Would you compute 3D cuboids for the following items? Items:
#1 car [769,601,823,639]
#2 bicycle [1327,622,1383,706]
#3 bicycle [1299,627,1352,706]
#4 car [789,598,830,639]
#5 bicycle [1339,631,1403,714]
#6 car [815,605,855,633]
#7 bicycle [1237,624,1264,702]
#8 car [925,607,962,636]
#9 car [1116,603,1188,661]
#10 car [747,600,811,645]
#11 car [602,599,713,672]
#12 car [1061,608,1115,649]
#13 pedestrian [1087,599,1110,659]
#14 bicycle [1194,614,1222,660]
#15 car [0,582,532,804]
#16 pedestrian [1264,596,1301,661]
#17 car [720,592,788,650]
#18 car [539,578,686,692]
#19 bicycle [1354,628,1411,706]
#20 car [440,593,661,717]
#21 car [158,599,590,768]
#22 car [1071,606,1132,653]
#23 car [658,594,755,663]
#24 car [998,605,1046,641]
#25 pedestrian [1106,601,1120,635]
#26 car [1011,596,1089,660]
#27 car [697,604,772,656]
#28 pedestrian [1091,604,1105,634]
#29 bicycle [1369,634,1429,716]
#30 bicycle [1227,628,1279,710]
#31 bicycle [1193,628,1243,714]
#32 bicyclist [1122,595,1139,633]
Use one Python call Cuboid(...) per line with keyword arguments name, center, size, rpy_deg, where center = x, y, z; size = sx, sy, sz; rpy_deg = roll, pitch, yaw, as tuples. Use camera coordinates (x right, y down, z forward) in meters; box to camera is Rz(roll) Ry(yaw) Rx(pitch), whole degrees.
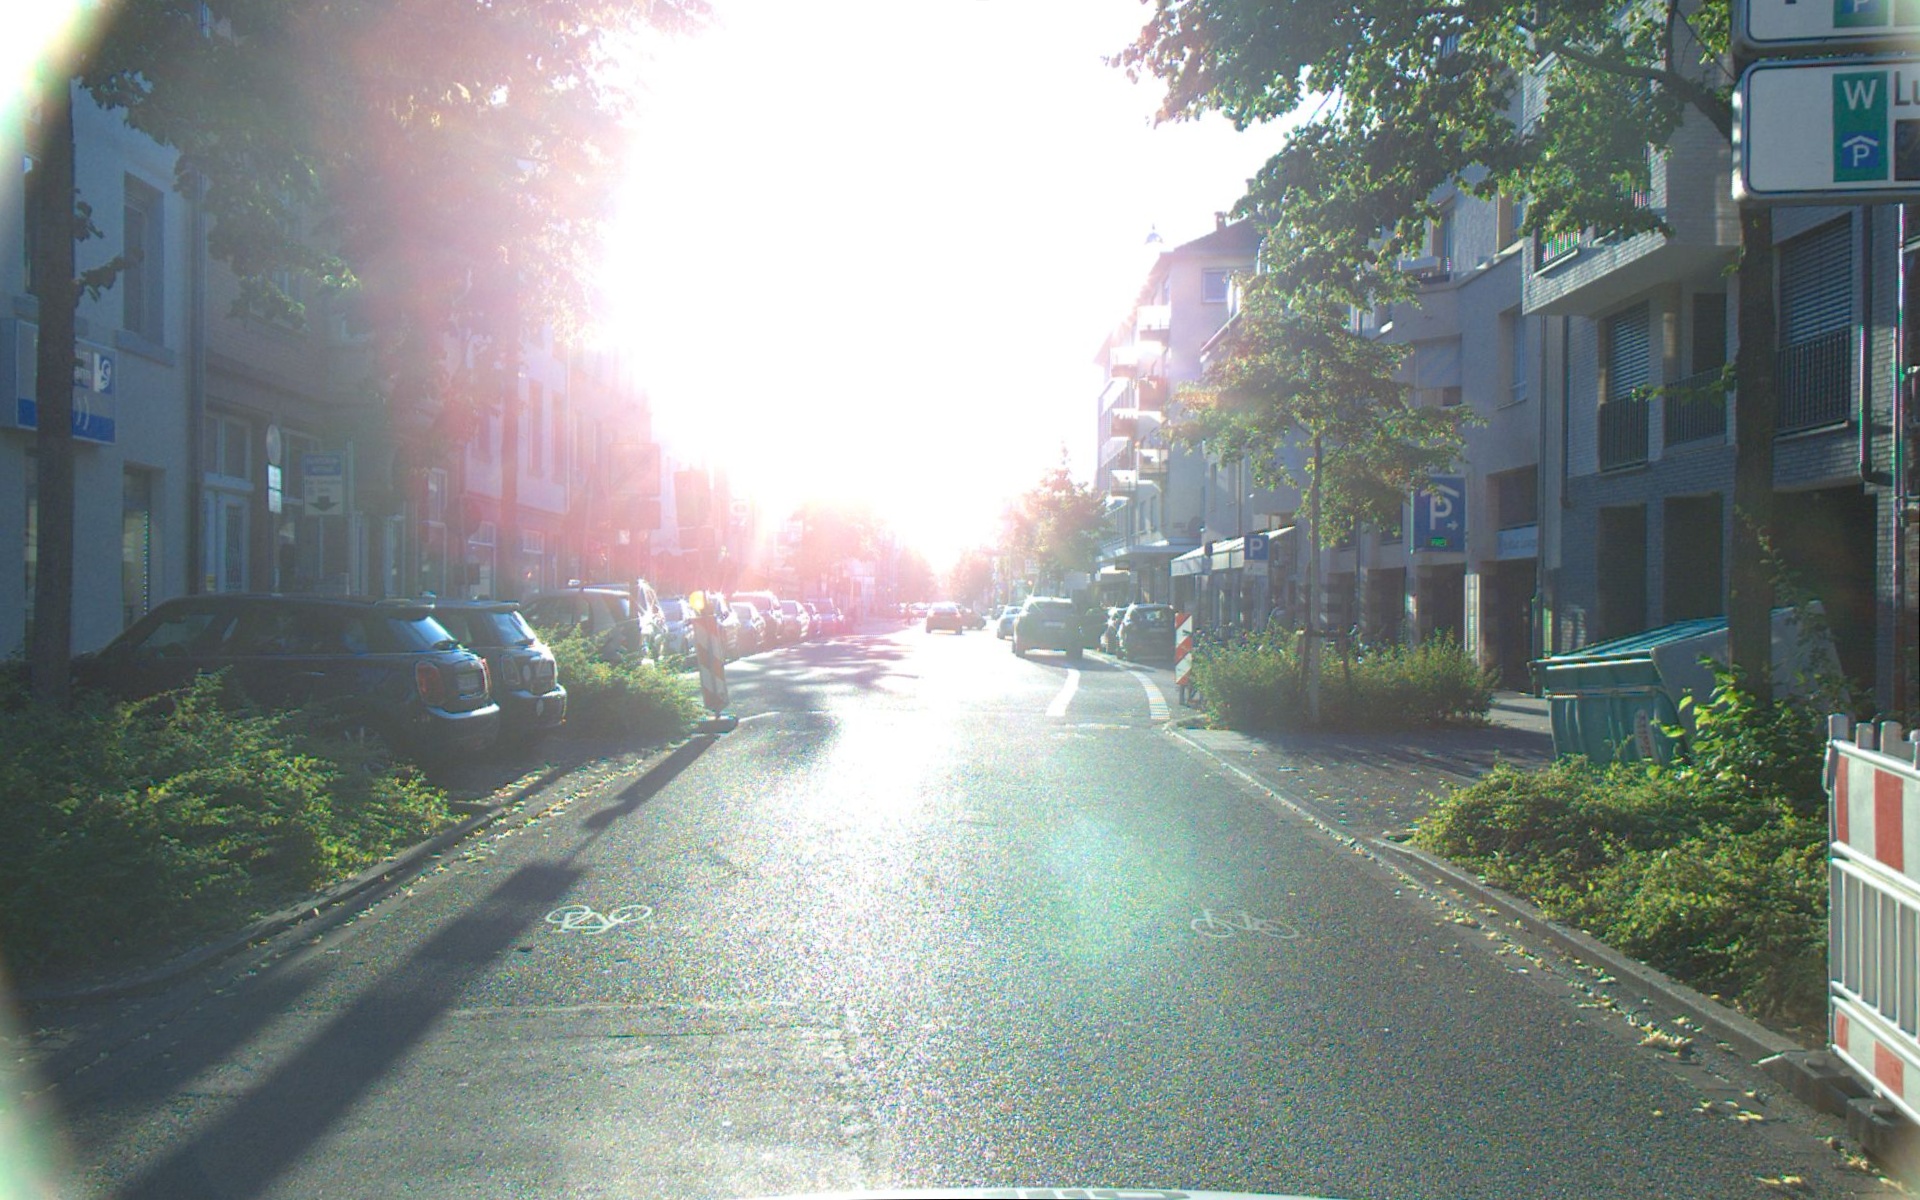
Cuboid(name="car", center=(-6.839, 0.830, 69.369), size=(1.790, 1.464, 4.553), rpy_deg=(-2, -1, 0))
Cuboid(name="bicycle", center=(5.923, 0.940, 24.851), size=(0.374, 1.210, 1.522), rpy_deg=(1, -1, -4))
Cuboid(name="bicycle", center=(5.471, 0.980, 24.806), size=(0.374, 1.119, 1.522), rpy_deg=(1, -1, -3))
Cuboid(name="car", center=(-7.096, 0.874, 78.450), size=(1.796, 1.887, 4.121), rpy_deg=(0, -1, -4))
Cuboid(name="bicycle", center=(5.804, 1.005, 23.418), size=(0.374, 1.119, 1.521), rpy_deg=(0, 0, -7))
Cuboid(name="car", center=(-6.400, 0.952, 84.724), size=(1.796, 1.351, 4.123), rpy_deg=(0, 0, -1))
Cuboid(name="bicycle", center=(4.395, 0.928, 24.959), size=(0.363, 1.127, 1.524), rpy_deg=(0, 0, 11))
Cuboid(name="car", center=(-0.825, 1.096, 85.122), size=(1.845, 1.440, 4.325), rpy_deg=(1, 0, 0))
Cuboid(name="car", center=(5.395, 0.879, 46.727), size=(1.600, 1.581, 2.693), rpy_deg=(-1, 0, -3))
Cuboid(name="car", center=(-6.881, 0.825, 63.308), size=(1.789, 1.583, 5.136), rpy_deg=(-2, 0, 1))
Cuboid(name="car", center=(-6.742, 0.758, 37.219), size=(1.737, 1.541, 3.950), rpy_deg=(1, 0, 0))
Cuboid(name="car", center=(4.713, 1.032, 61.322), size=(1.668, 1.461, 3.931), rpy_deg=(-1, 0, 0))
Cuboid(name="pedestrian", center=(3.974, 0.825, 47.366), size=(0.436, 1.694, 0.561), rpy_deg=(0, 0, -25))
Cuboid(name="bicycle", center=(6.892, 1.011, 46.008), size=(0.389, 1.256, 1.824), rpy_deg=(-1, 0, -3))
Cuboid(name="car", center=(-5.477, 0.663, 12.780), size=(3.813, 1.544, 1.857), rpy_deg=(1, 0, 0))
Cuboid(name="pedestrian", center=(8.519, 0.745, 43.696), size=(0.794, 1.675, 0.606), rpy_deg=(-1, -1, 0))
Cuboid(name="car", center=(-7.025, 0.693, 56.801), size=(1.790, 1.842, 5.346), rpy_deg=(-1, 0, -2))
Cuboid(name="car", center=(-5.854, 0.572, 28.375), size=(1.867, 1.759, 4.697), rpy_deg=(-1, -1, -5))
Cuboid(name="bicycle", center=(6.345, 0.989, 24.880), size=(0.374, 1.119, 1.522), rpy_deg=(0, -1, -4))
Cuboid(name="car", center=(-5.535, 0.718, 22.596), size=(2.640, 1.547, 1.571), rpy_deg=(-2, 1, -4))
Cuboid(name="car", center=(-5.292, 0.723, 15.225), size=(3.326, 1.416, 1.687), rpy_deg=(1, 0, 2))
Cuboid(name="car", center=(4.572, 0.944, 53.673), size=(1.600, 1.449, 3.757), rpy_deg=(0, 0, -1))
Cuboid(name="car", center=(-6.324, 0.688, 41.654), size=(1.737, 1.661, 4.238), rpy_deg=(0, 0, 0))
Cuboid(name="car", center=(2.704, 1.009, 72.610), size=(1.883, 1.440, 4.548), rpy_deg=(3, 0, 0))
Cuboid(name="pedestrian", center=(8.107, 0.955, 87.644), size=(0.673, 1.752, 0.717), rpy_deg=(-1, -1, 6))
Cuboid(name="car", center=(2.545, 0.789, 47.855), size=(1.954, 1.684, 4.673), rpy_deg=(2, 0, 0))
Cuboid(name="car", center=(-6.825, 0.884, 50.467), size=(1.678, 1.466, 4.309), rpy_deg=(-1, 0, 0))
Cuboid(name="pedestrian", center=(7.348, 1.027, 87.827), size=(0.674, 1.586, 0.862), rpy_deg=(0, -1, 0))
Cuboid(name="bicycle", center=(6.340, 1.071, 23.949), size=(0.374, 1.119, 1.522), rpy_deg=(0, 0, -4))
Cuboid(name="bicycle", center=(4.106, 0.964, 23.246), size=(0.374, 1.119, 1.522), rpy_deg=(0, -2, -3))
Cuboid(name="bicycle", center=(3.554, 0.961, 22.893), size=(0.374, 1.119, 1.522), rpy_deg=(0, 0, -3))
Cuboid(name="bicyclist", center=(7.837, 0.645, 76.022), size=(0.637, 1.732, 1.095), rpy_deg=(0, -1, -2))
